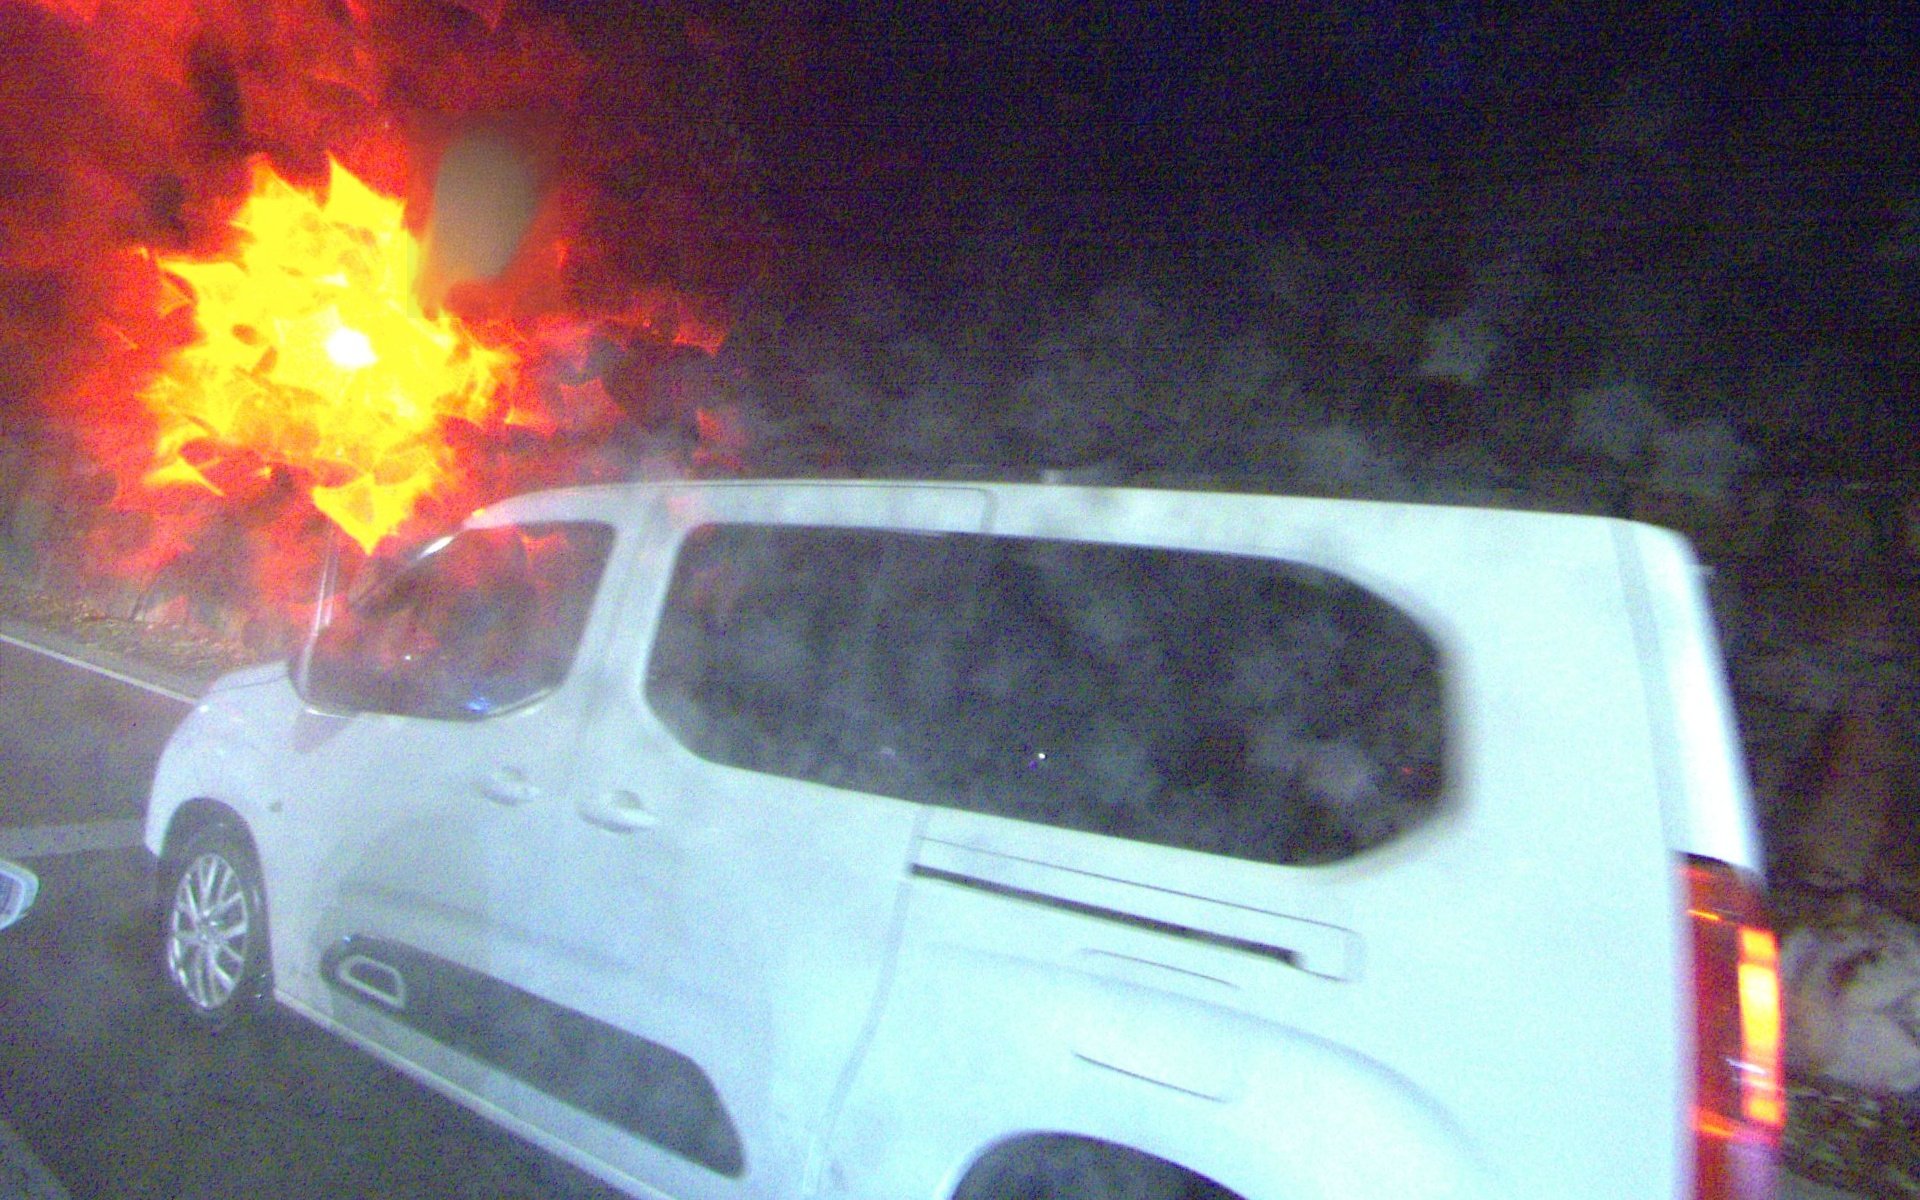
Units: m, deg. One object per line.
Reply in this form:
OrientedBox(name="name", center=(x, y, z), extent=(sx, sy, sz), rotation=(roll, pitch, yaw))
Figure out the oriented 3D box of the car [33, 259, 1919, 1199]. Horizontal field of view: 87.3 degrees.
OrientedBox(name="car", center=(-0.525, 0.509, 2.955), extent=(4.501, 2.045, 1.795), rotation=(7, -1, 30))
